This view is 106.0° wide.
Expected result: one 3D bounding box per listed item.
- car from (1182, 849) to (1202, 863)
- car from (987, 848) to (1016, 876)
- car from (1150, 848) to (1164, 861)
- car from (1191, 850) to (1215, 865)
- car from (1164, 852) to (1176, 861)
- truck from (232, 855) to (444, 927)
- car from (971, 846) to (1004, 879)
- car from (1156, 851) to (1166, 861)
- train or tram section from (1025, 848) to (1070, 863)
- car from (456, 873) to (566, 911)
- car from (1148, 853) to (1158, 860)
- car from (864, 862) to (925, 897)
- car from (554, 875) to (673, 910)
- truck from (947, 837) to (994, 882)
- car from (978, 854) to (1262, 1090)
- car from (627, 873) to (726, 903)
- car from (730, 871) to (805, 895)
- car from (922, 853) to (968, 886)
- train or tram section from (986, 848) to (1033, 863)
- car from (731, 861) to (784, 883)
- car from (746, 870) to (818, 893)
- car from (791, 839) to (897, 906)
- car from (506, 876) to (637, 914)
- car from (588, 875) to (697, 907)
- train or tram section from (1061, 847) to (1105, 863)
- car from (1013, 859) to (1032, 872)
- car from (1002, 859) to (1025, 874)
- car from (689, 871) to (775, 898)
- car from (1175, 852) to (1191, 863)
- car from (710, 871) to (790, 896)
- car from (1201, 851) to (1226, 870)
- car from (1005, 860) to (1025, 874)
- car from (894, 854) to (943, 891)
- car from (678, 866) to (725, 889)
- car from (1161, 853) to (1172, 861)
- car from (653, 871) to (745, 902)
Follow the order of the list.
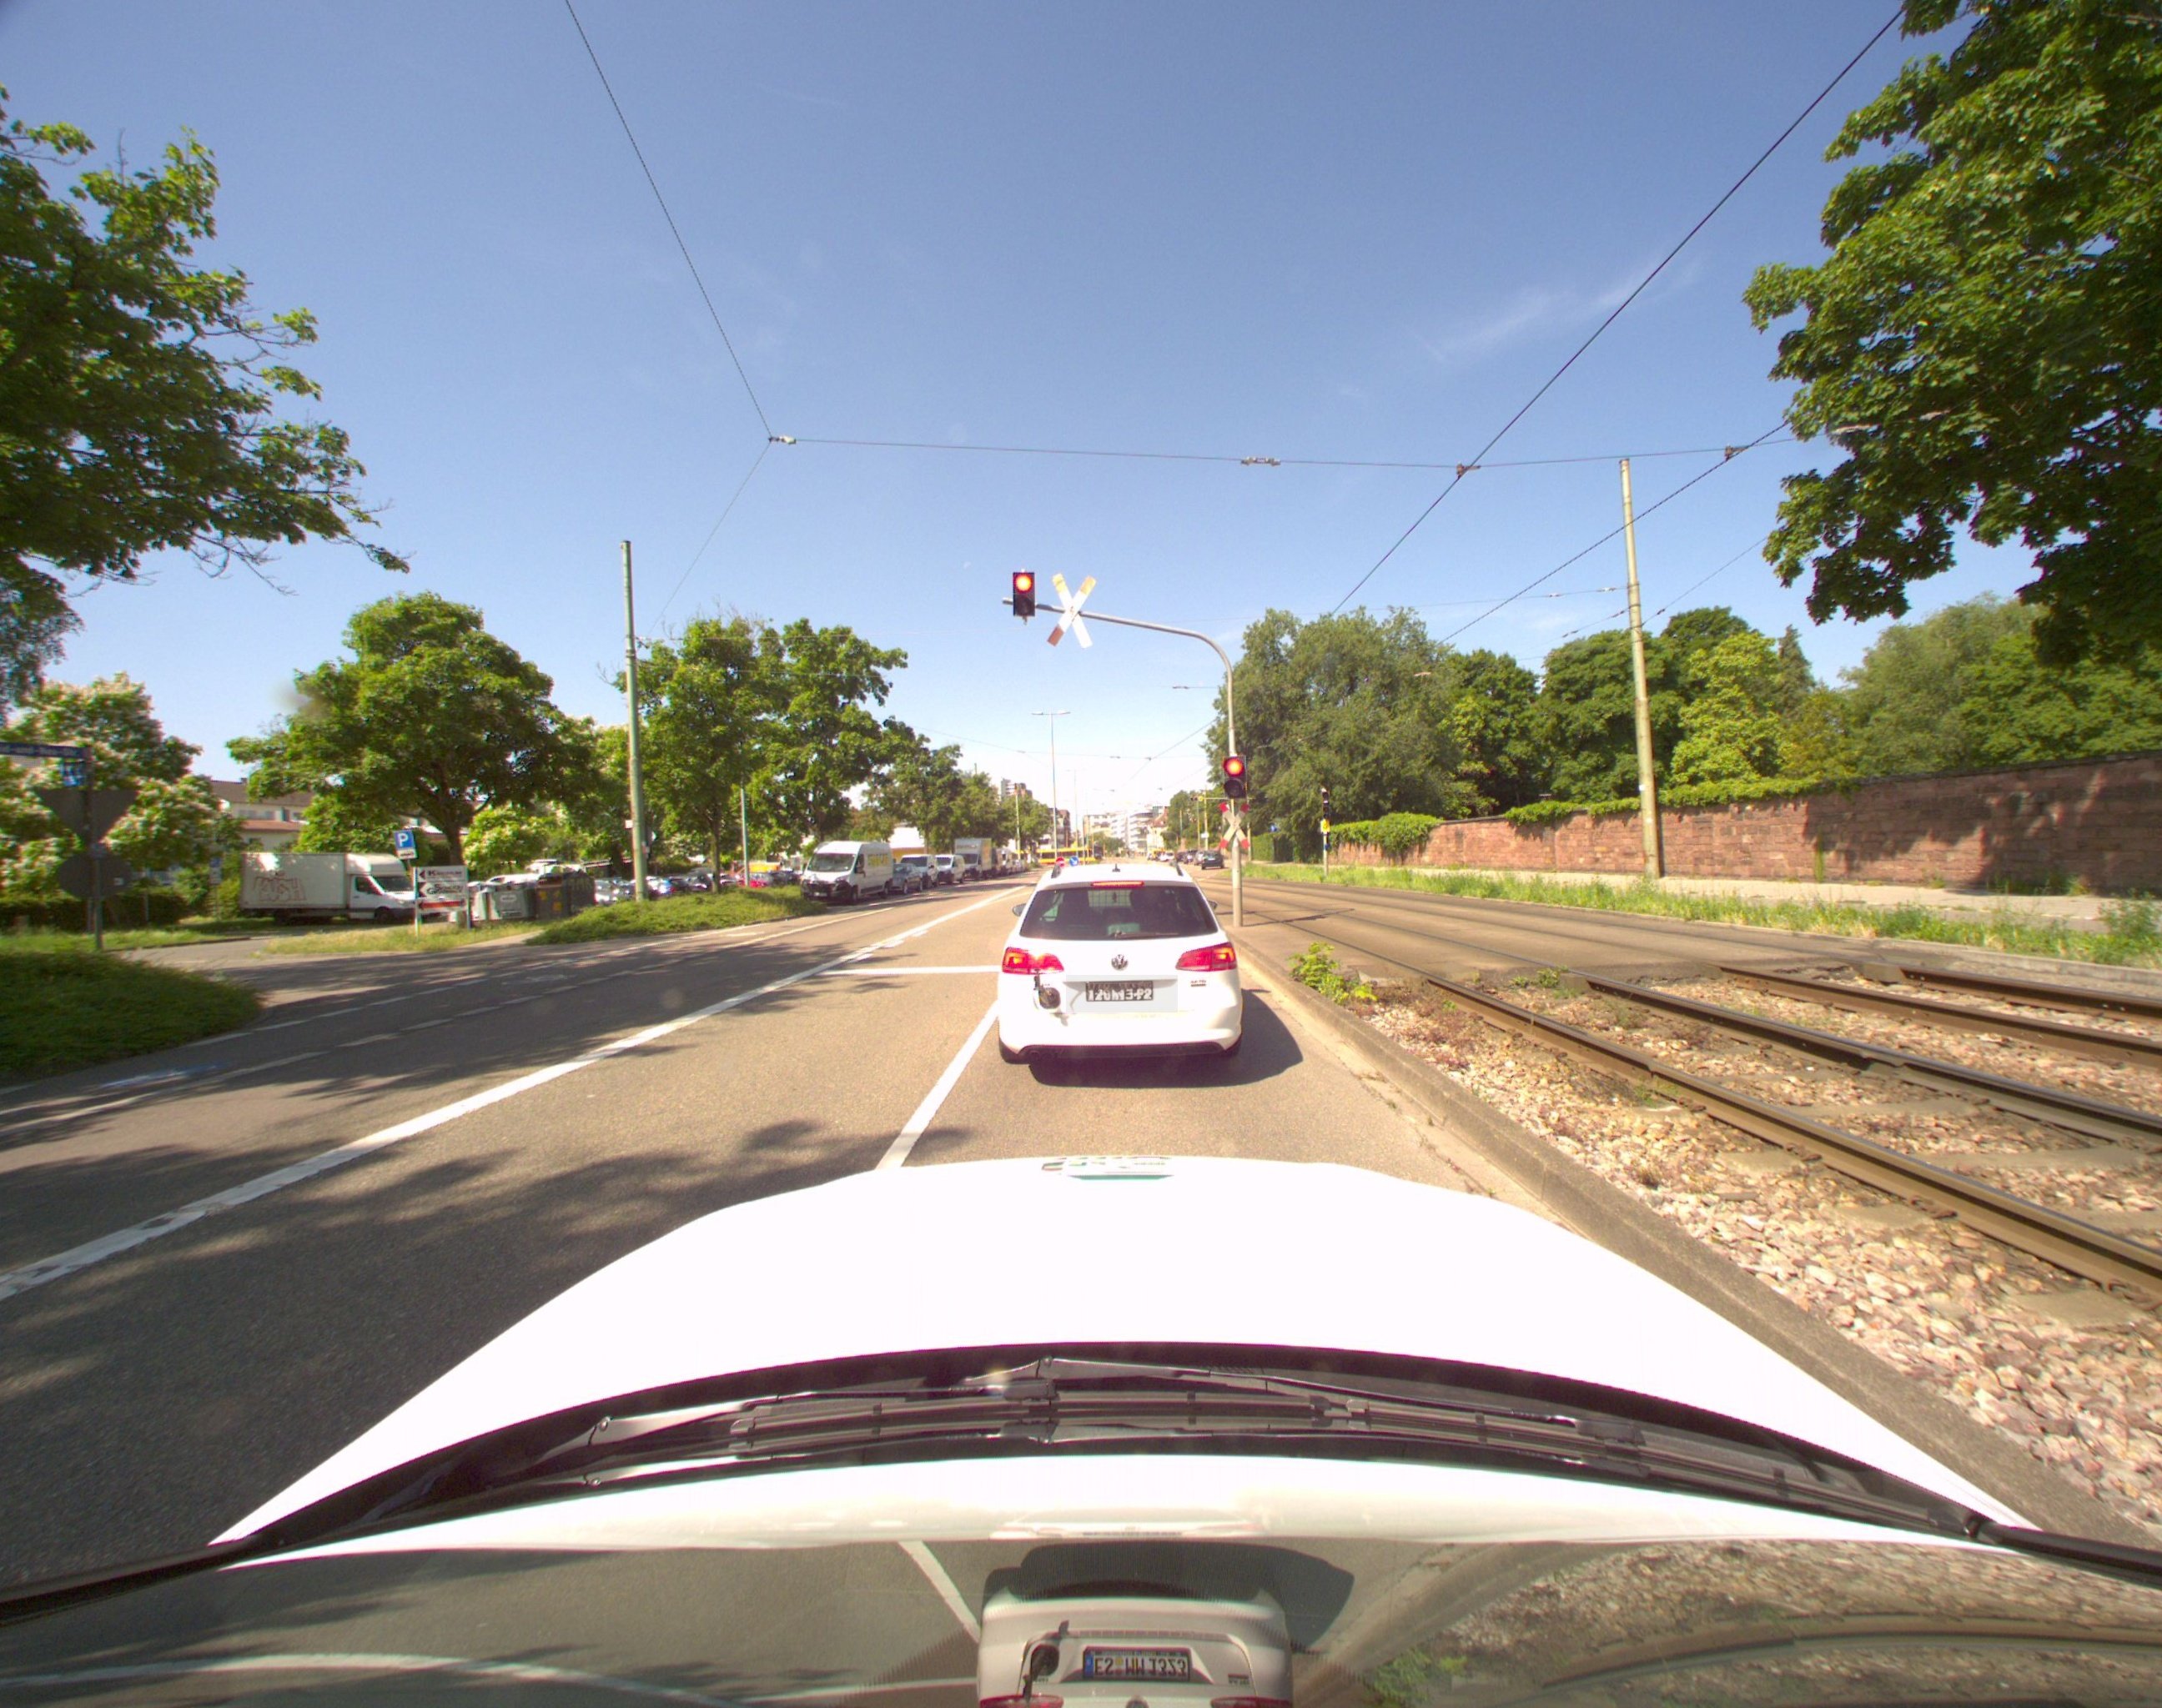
[{"bbox_3d":[12.655,0.248,92.864,1.854,1.513,3.915,0,0,2],"label":"car"},{"bbox_3d":[-7.442,0.709,76.957,1.836,2.494,5.860,-3,0,2],"label":"car"},{"bbox_3d":[15.207,0.198,162.731,2.454,2.499,5.912,0,-1,2],"label":"car"},{"bbox_3d":[12.057,0.352,80.517,1.854,1.416,4.327,0,0,2],"label":"car"},{"bbox_3d":[13.902,0.362,126.919,1.576,1.346,3.455,0,-1,1],"label":"car"},{"bbox_3d":[-32.459,1.572,35.743,7.119,3.019,2.231,0,0,-1],"label":"truck"},{"bbox_3d":[-7.871,0.692,68.973,1.836,2.668,5.006,-3,0,2],"label":"car"},{"bbox_3d":[14.395,0.339,146.475,1.685,1.812,3.455,0,-1,1],"label":"car"},{"bbox_3d":[-7.303,0.341,176.081,10.667,3.253,2.323,-1,-1,37],"label":"train or tram section"},{"bbox_3d":[-32.070,2.131,45.963,4.683,2.014,1.997,0,-1,-4],"label":"car"},{"bbox_3d":[15.678,0.507,177.147,1.986,1.596,4.002,0,-1,2],"label":"car"},{"bbox_3d":[-9.007,1.194,39.724,1.837,1.516,4.199,-3,0,2],"label":"car"},{"bbox_3d":[-19.845,1.631,34.669,3.974,1.225,1.771,-3,0,0],"label":"car"},{"bbox_3d":[-8.277,0.363,61.619,2.348,3.122,6.893,-3,0,1],"label":"truck"},{"bbox_3d":[0.280,0.732,7.025,1.762,1.446,3.914,0,0,1],"label":"car"},{"bbox_3d":[-20.138,1.688,40.615,3.969,1.225,1.773,-3,0,4],"label":"car"},{"bbox_3d":[-19.527,1.801,50.816,3.969,1.225,1.773,-3,0,4],"label":"car"},{"bbox_3d":[-8.793,0.974,53.004,1.836,1.960,5.137,-3,0,2],"label":"car"},{"bbox_3d":[-15.985,0.455,181.802,10.878,3.253,2.323,-1,-1,29],"label":"train or tram section"},{"bbox_3d":[-31.222,1.715,78.685,4.249,2.014,1.997,0,-1,-5],"label":"car"},{"bbox_3d":[-19.456,1.787,53.114,3.969,1.225,1.773,-3,0,4],"label":"car"},{"bbox_3d":[-9.535,0.663,33.435,2.049,2.501,6.315,0,0,4],"label":"car"},{"bbox_3d":[-19.968,1.597,32.047,3.974,1.225,1.771,-3,0,0],"label":"car"},{"bbox_3d":[-20.039,1.675,37.305,3.969,1.225,1.773,-3,0,4],"label":"car"},{"bbox_3d":[0.249,0.218,168.994,2.321,3.253,11.139,0,-1,-42],"label":"train or tram section"},{"bbox_3d":[-7.006,1.385,97.632,1.774,1.433,4.039,-3,0,2],"label":"car"},{"bbox_3d":[-7.149,1.329,86.485,1.837,1.433,4.039,-3,0,2],"label":"car"},{"bbox_3d":[-19.540,1.720,45.644,3.969,1.264,1.773,-3,0,4],"label":"car"},{"bbox_3d":[13.160,0.418,105.499,1.739,1.407,3.915,0,0,2],"label":"car"},{"bbox_3d":[-19.587,1.763,48.270,3.969,1.225,1.773,-3,0,4],"label":"car"},{"bbox_3d":[9.978,0.462,61.448,1.735,1.388,3.923,-1,0,9],"label":"car"},{"bbox_3d":[-7.485,1.419,92.865,1.837,1.433,4.039,-3,0,2],"label":"car"},{"bbox_3d":[-9.198,0.988,46.512,1.839,1.937,5.190,-3,0,-2],"label":"car"},{"bbox_3d":[-34.253,2.150,73.625,3.412,1.876,1.552,-3,0,0],"label":"car"},{"bbox_3d":[14.431,0.480,137.800,1.576,1.346,3.455,0,-1,1],"label":"car"},{"bbox_3d":[-20.180,1.711,43.141,3.969,1.350,1.773,-3,0,4],"label":"car"}]
